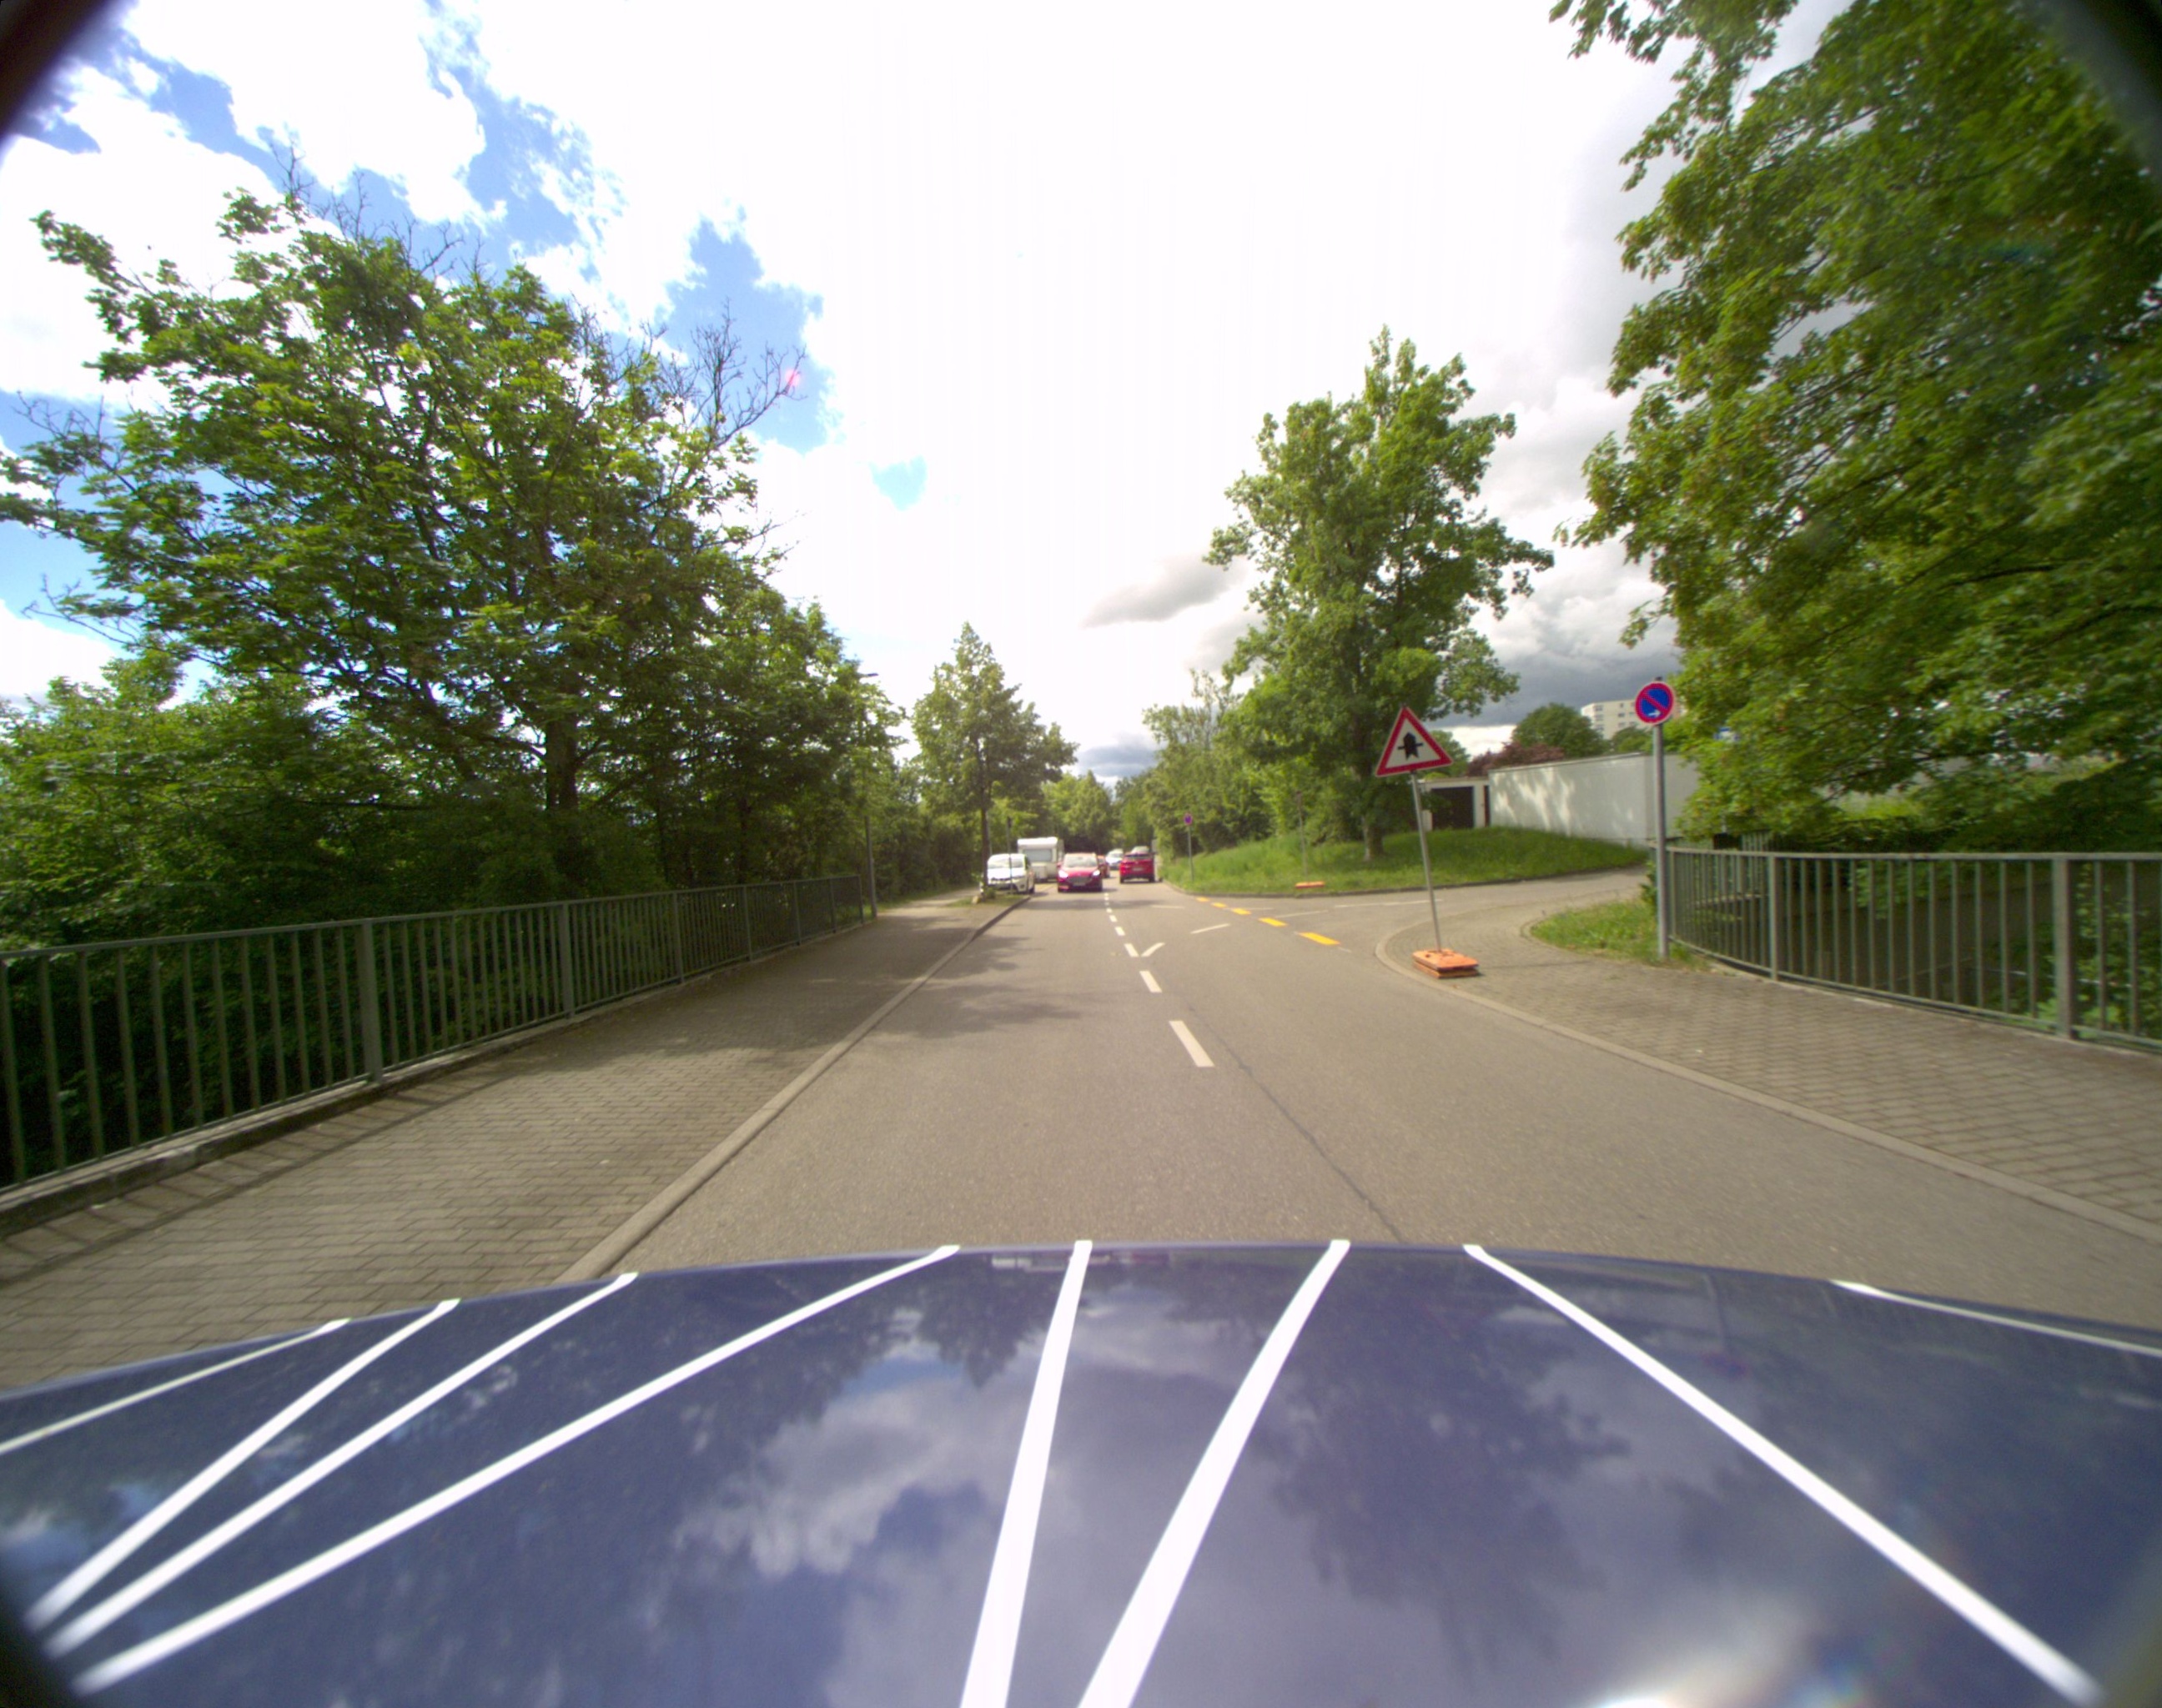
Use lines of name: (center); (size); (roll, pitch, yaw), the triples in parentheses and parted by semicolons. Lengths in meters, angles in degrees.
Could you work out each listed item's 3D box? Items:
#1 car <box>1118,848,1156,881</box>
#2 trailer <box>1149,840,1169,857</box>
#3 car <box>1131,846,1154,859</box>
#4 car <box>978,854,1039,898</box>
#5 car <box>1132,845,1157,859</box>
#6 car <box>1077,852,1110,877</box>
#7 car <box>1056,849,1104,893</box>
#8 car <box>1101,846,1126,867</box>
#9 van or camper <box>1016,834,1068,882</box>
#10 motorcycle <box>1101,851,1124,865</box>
car: (3.032, 0.560, 41.365); (1.847, 1.649, 4.222); (-3, 0, 4)
trailer: (10.713, -0.756, 103.622); (1.731, 2.067, 3.787); (0, 3, 21)
car: (7.793, -0.262, 95.729); (1.865, 1.469, 4.907); (0, 2, 18)
car: (-2.792, 0.807, 30.080); (1.809, 1.590, 4.372); (-1, 0, 2)
car: (6.904, -0.207, 82.613); (1.793, 1.500, 4.118); (1, 1, 17)
car: (0.869, 0.669, 49.606); (1.795, 1.405, 4.114); (-3, 0, 5)
car: (0.019, 0.678, 33.169); (1.912, 1.689, 4.386); (-2, 1, 2)
car: (2.827, 0.187, 65.956); (1.795, 1.501, 4.113); (-1, 3, 7)
van or camper: (-2.125, 0.189, 43.474); (2.360, 2.539, 5.075); (-1, 1, 3)
motorcycle: (3.314, 0.426, 80.614); (2.306, 1.467, 0.977); (1, 3, 40)
